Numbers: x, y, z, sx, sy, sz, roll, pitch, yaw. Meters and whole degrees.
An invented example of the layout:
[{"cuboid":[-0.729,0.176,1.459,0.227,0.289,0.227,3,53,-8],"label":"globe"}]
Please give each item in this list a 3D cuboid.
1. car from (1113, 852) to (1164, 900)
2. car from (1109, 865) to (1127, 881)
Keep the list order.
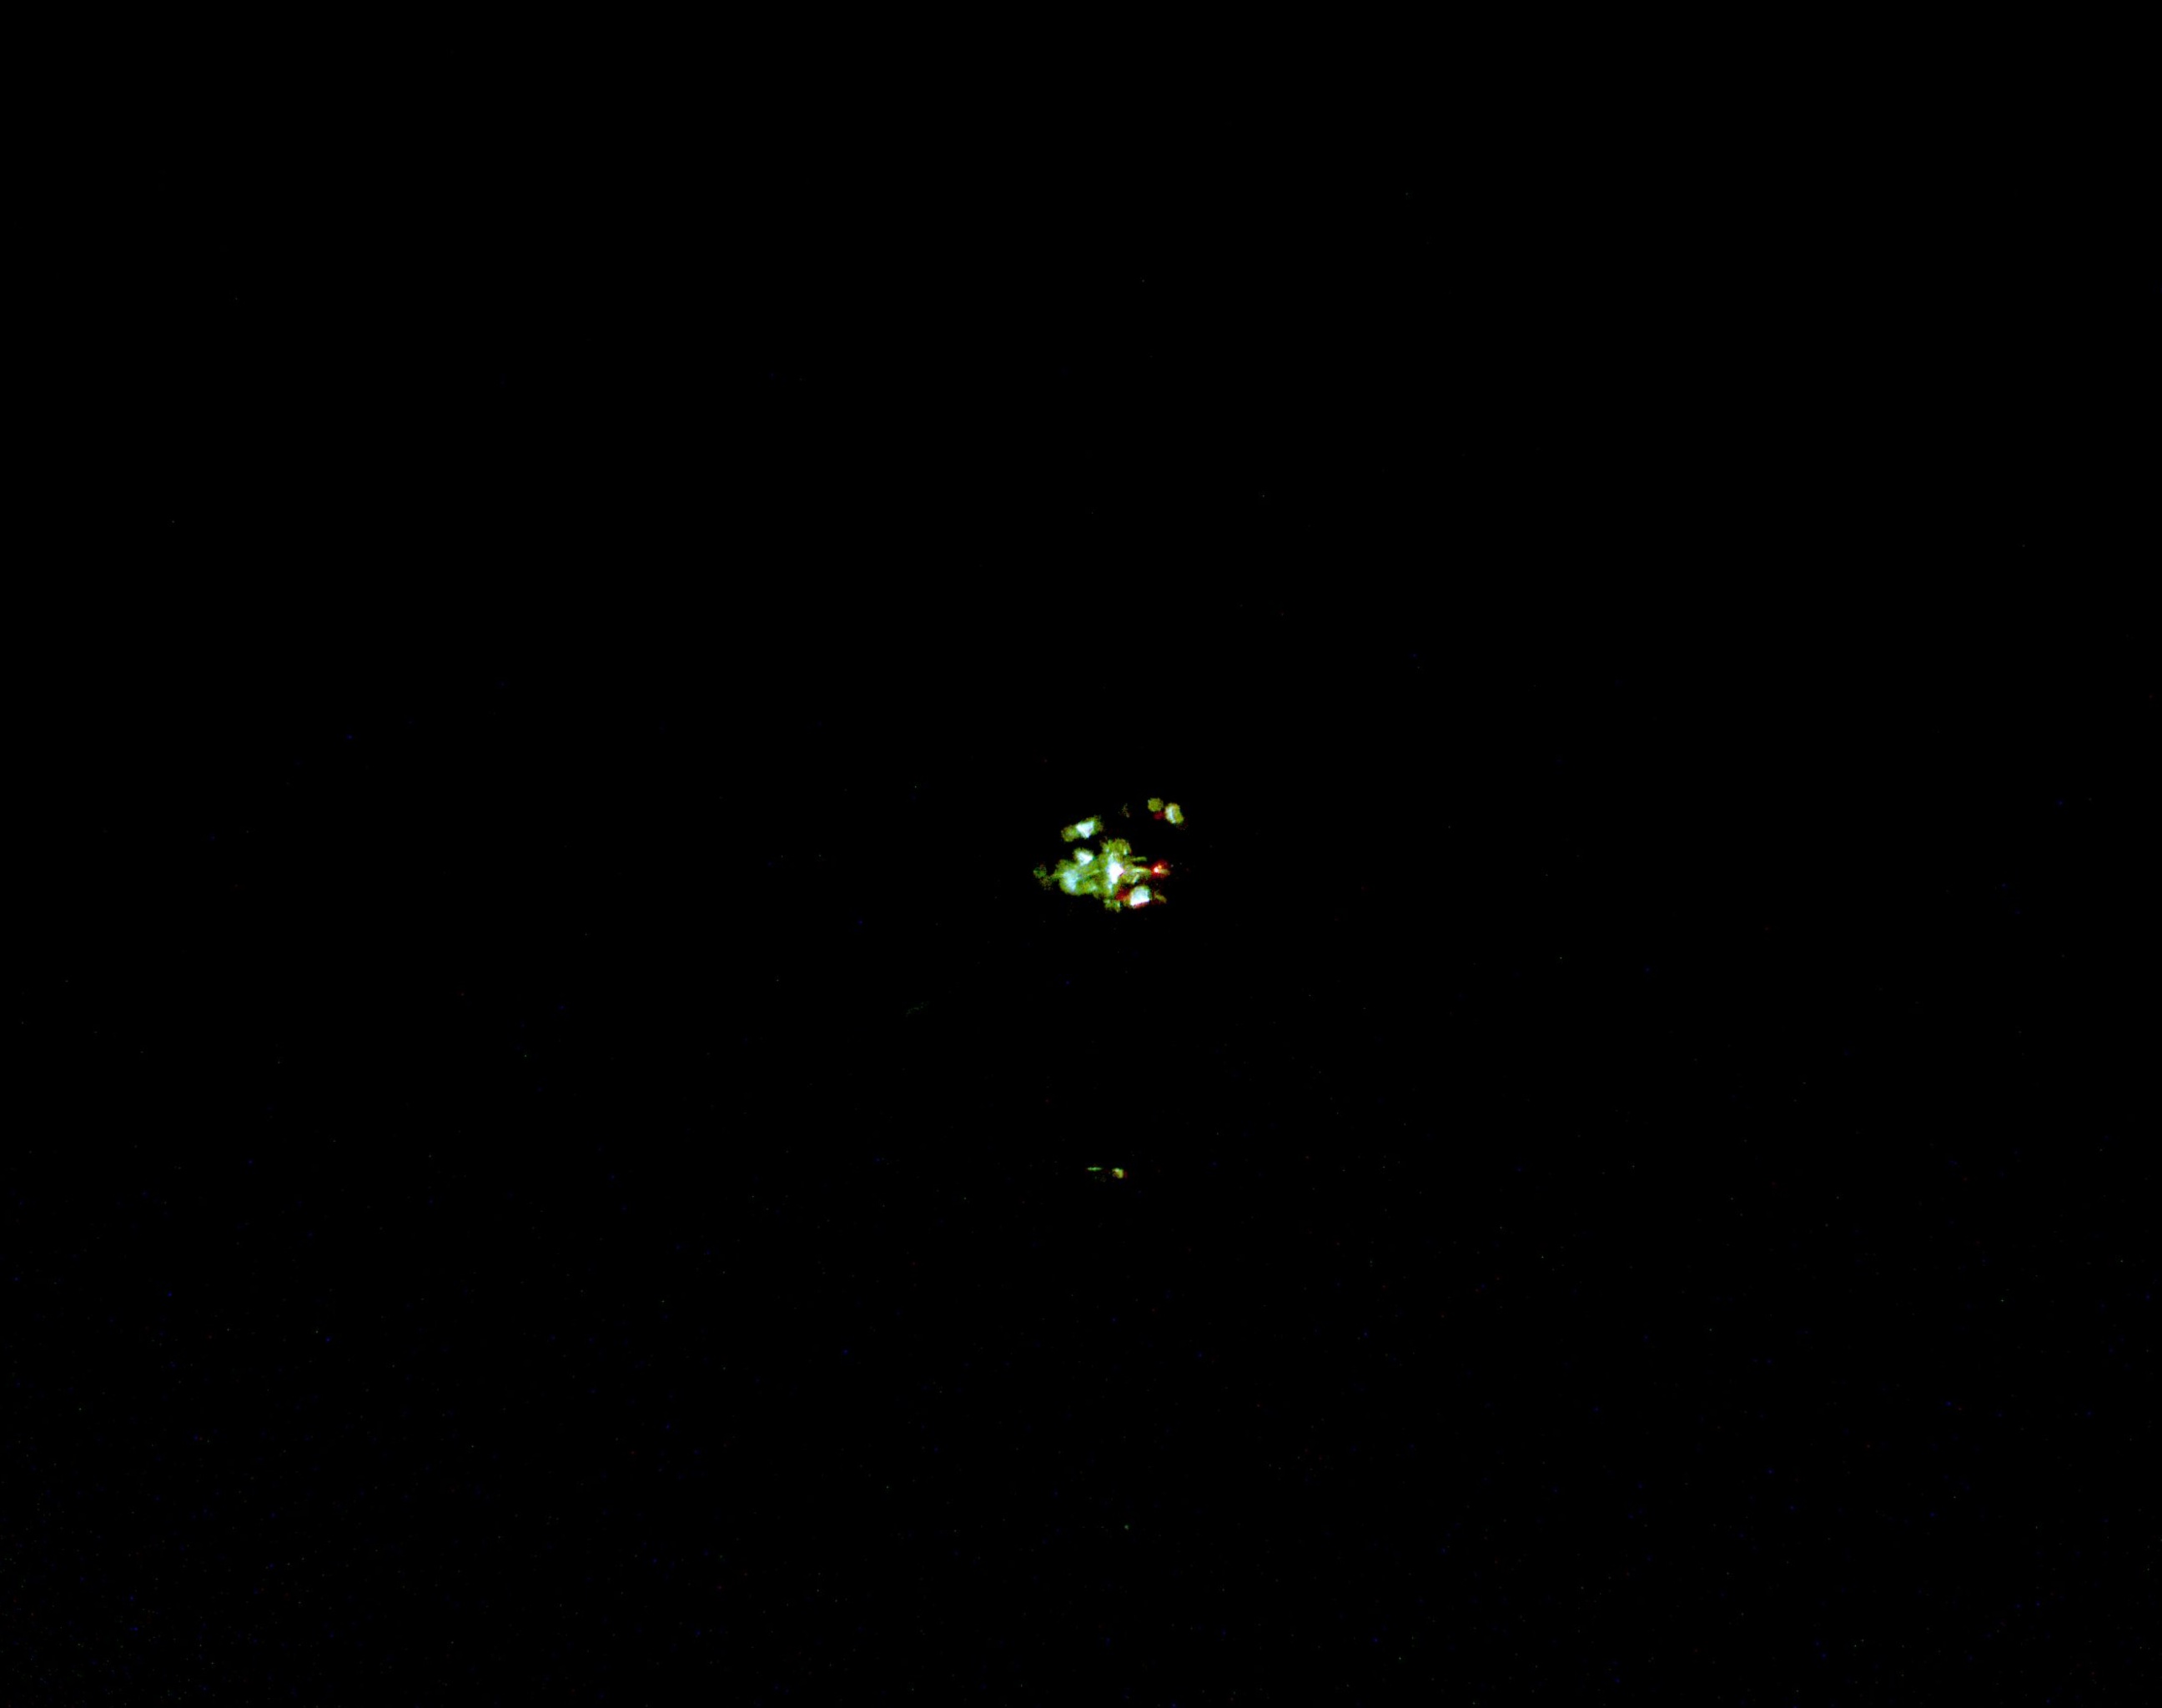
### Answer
[{"cuboid":[2.481,0.914,35.946,1.986,1.806,3.920,-4,1,2],"label":"car"},{"cuboid":[4.714,2.380,103.696,1.792,1.579,4.465,-12,-1,6],"label":"car"}]
